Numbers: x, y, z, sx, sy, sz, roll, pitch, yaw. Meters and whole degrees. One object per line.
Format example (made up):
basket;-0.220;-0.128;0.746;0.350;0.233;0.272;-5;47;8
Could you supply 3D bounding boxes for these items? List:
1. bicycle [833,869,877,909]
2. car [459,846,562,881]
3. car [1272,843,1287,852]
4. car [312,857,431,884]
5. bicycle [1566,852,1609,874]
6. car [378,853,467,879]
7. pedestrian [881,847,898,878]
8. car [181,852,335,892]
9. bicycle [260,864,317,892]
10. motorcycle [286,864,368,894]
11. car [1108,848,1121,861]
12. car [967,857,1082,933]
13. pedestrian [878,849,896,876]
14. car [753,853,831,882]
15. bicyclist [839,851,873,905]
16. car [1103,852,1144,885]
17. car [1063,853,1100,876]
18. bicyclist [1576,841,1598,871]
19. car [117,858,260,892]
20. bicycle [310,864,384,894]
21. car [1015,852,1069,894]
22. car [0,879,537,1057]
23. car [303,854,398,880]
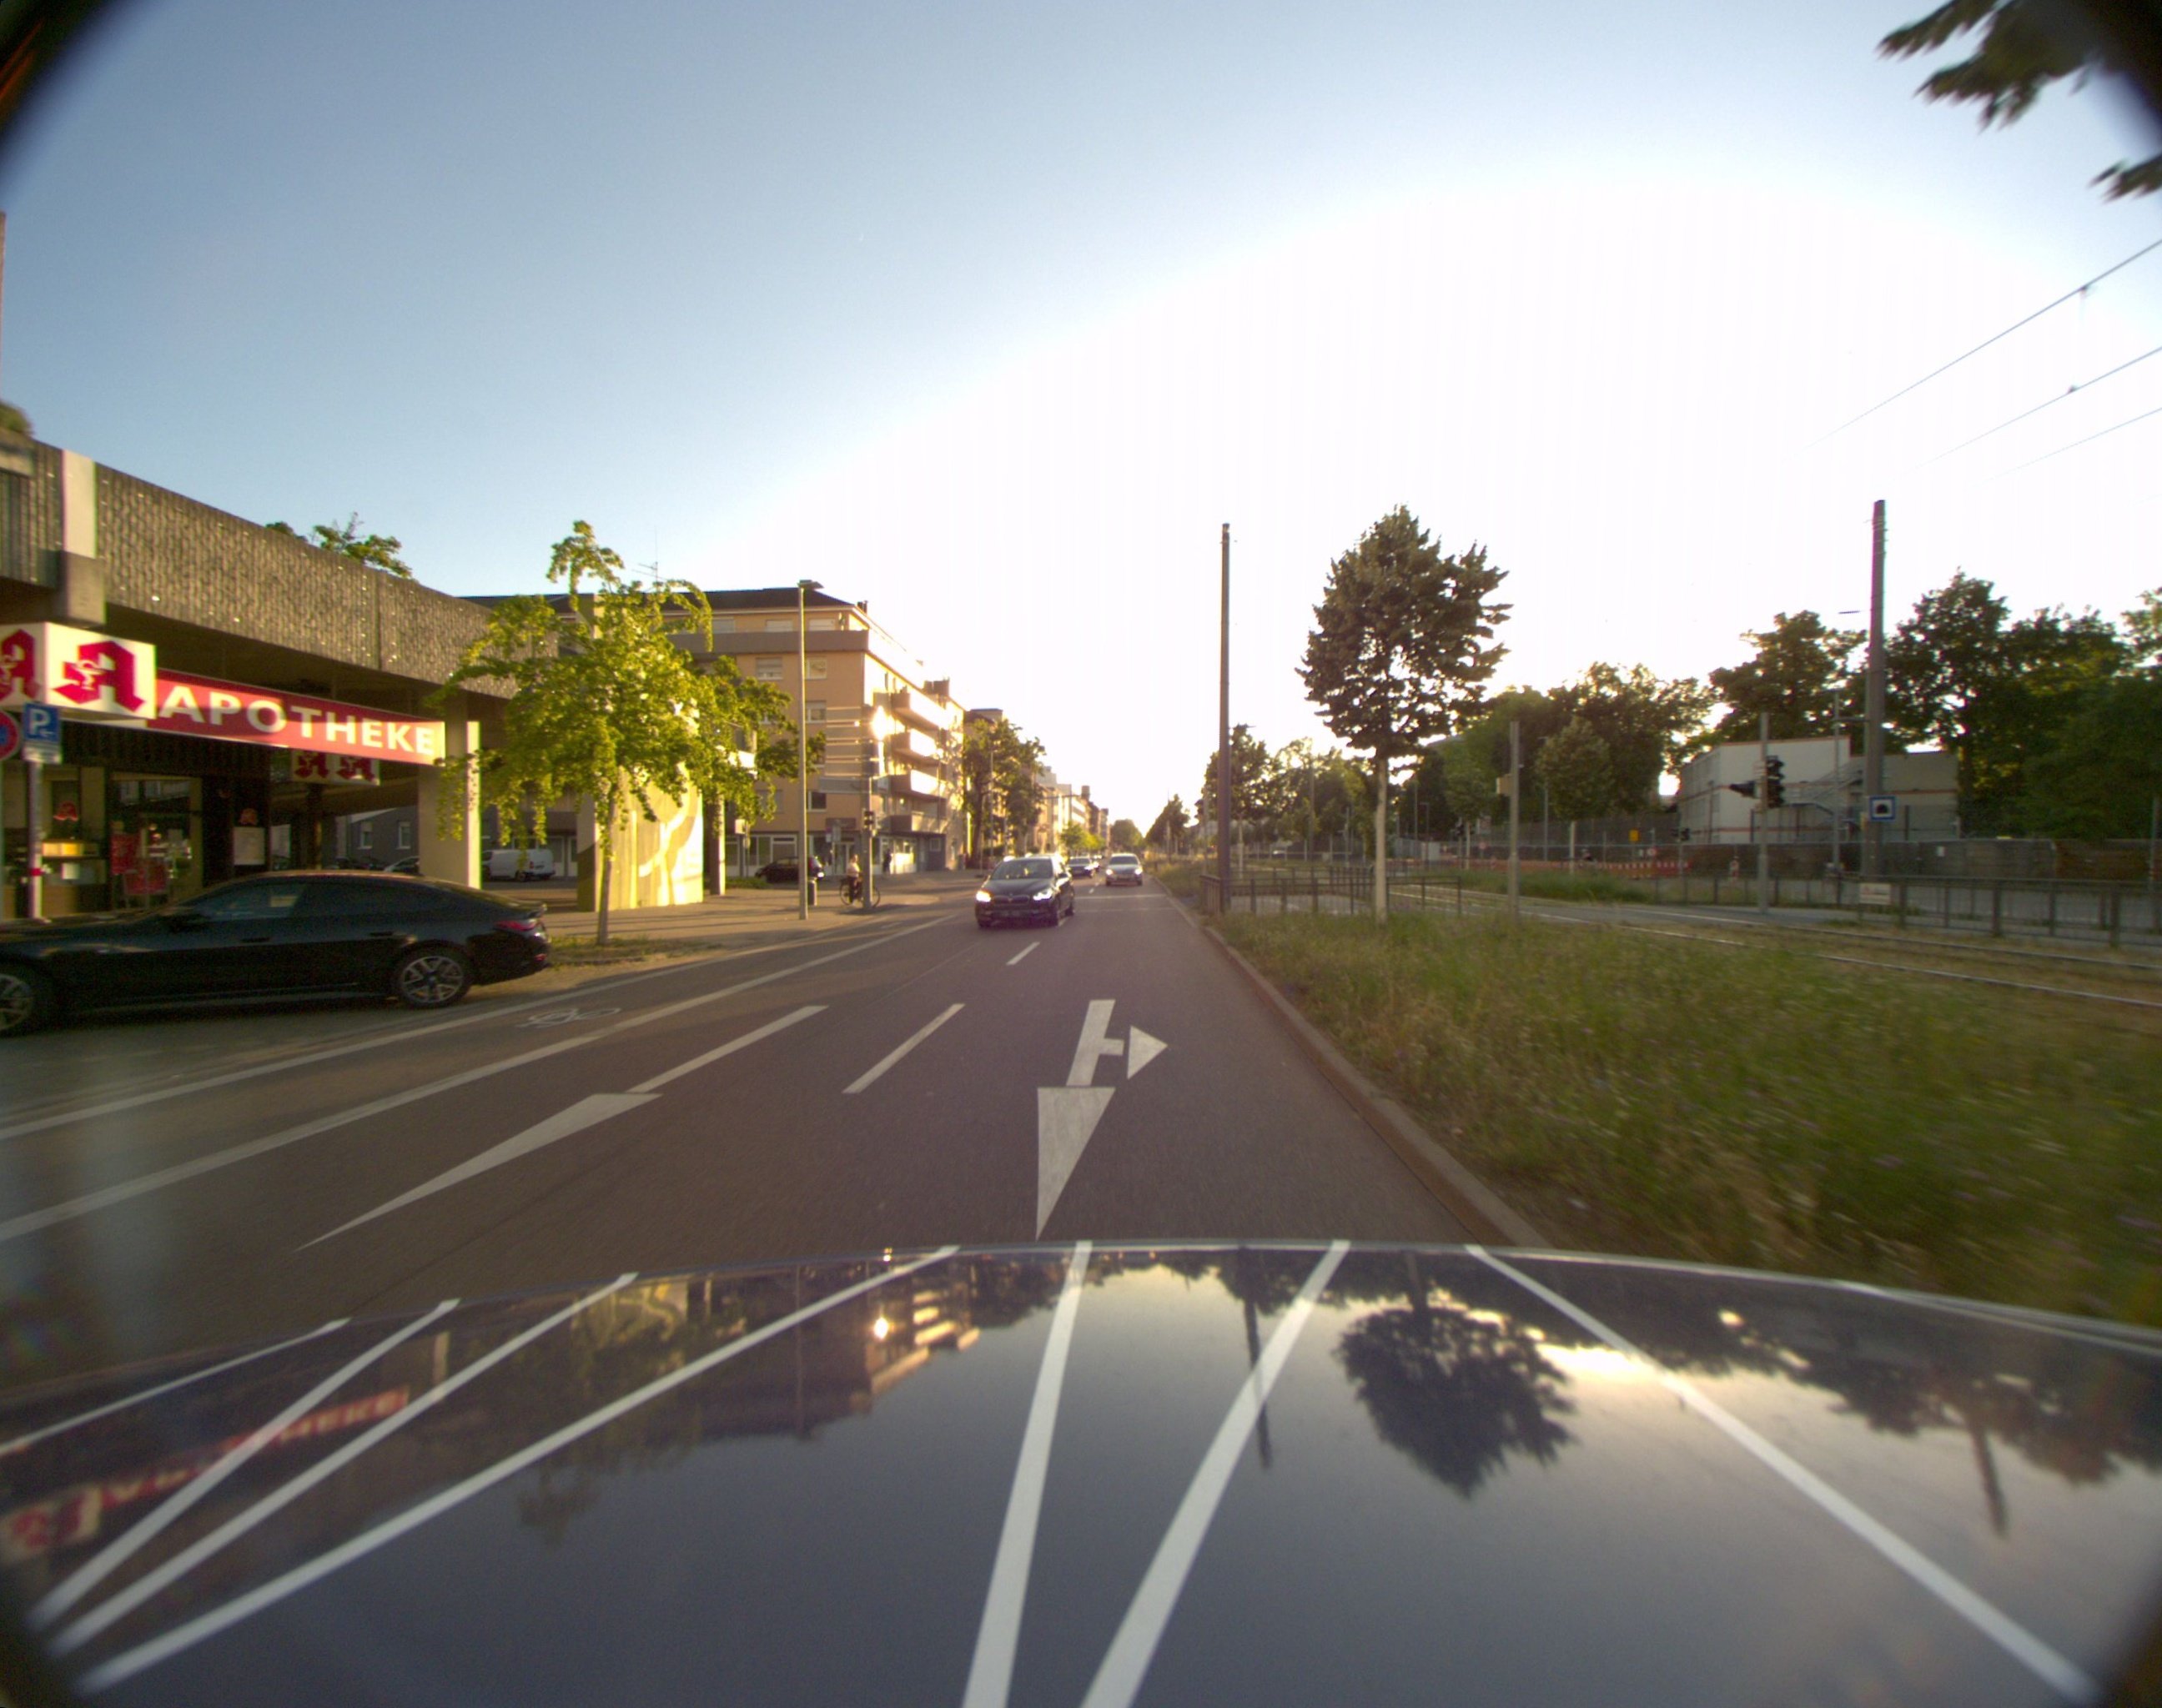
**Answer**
bicycle;-7.335;1.109;24.583;0.821;1.166;2.142;0;1;-32
car;-33.572;0.540;44.810;4.535;1.855;1.999;0;4;3
car;35.996;-1.221;137.925;1.848;1.551;3.801;-2;0;4
car;-38.847;0.914;41.703;4.621;1.460;1.806;0;-1;-7
bicycle;27.444;0.502;41.216;1.893;1.127;0.718;-2;0;31
car;-39.146;0.706;45.197;3.996;1.477;1.606;0;1;3
pedestrian;-11.451;0.520;45.460;0.839;1.849;0.544;0;2;5
car;-37.599;0.773;34.930;1.752;1.683;4.626;-2;0;5
bicycle;-29.876;0.878;28.665;0.485;1.031;1.568;1;0;1
motorcycle;-27.222;0.879;27.497;0.787;1.051;2.154;1;-1;0
car;5.050;0.040;115.065;1.726;1.910;4.294;-2;0;1
car;-1.188;0.875;18.250;1.824;1.510;4.793;-2;0;7
pedestrian;-11.775;0.502;46.174;0.821;1.606;0.767;0;2;6
car;-16.546;0.749;43.532;3.811;1.552;1.615;0;4;5
bicyclist;-7.235;0.768;24.432;0.821;1.682;0.958;0;1;-32
car;2.101;0.657;36.845;1.832;1.455;4.304;-2;0;4
car;0.089;0.670;49.693;1.914;1.387;4.279;-2;0;7
bicyclist;27.428;0.111;41.212;0.942;1.611;0.718;-2;1;31
car;-42.082;0.951;36.005;1.752;1.452;4.180;-2;0;1
bicycle;-26.341;0.882;27.316;0.782;1.051;1.923;1;-1;0
car;-1.561;0.745;31.998;1.827;1.589;4.367;-2;0;2
car;-8.611;1.028;8.036;4.616;1.445;1.809;1;0;-36
car;-43.783;0.752;45.593;4.245;1.477;1.606;0;1;3
